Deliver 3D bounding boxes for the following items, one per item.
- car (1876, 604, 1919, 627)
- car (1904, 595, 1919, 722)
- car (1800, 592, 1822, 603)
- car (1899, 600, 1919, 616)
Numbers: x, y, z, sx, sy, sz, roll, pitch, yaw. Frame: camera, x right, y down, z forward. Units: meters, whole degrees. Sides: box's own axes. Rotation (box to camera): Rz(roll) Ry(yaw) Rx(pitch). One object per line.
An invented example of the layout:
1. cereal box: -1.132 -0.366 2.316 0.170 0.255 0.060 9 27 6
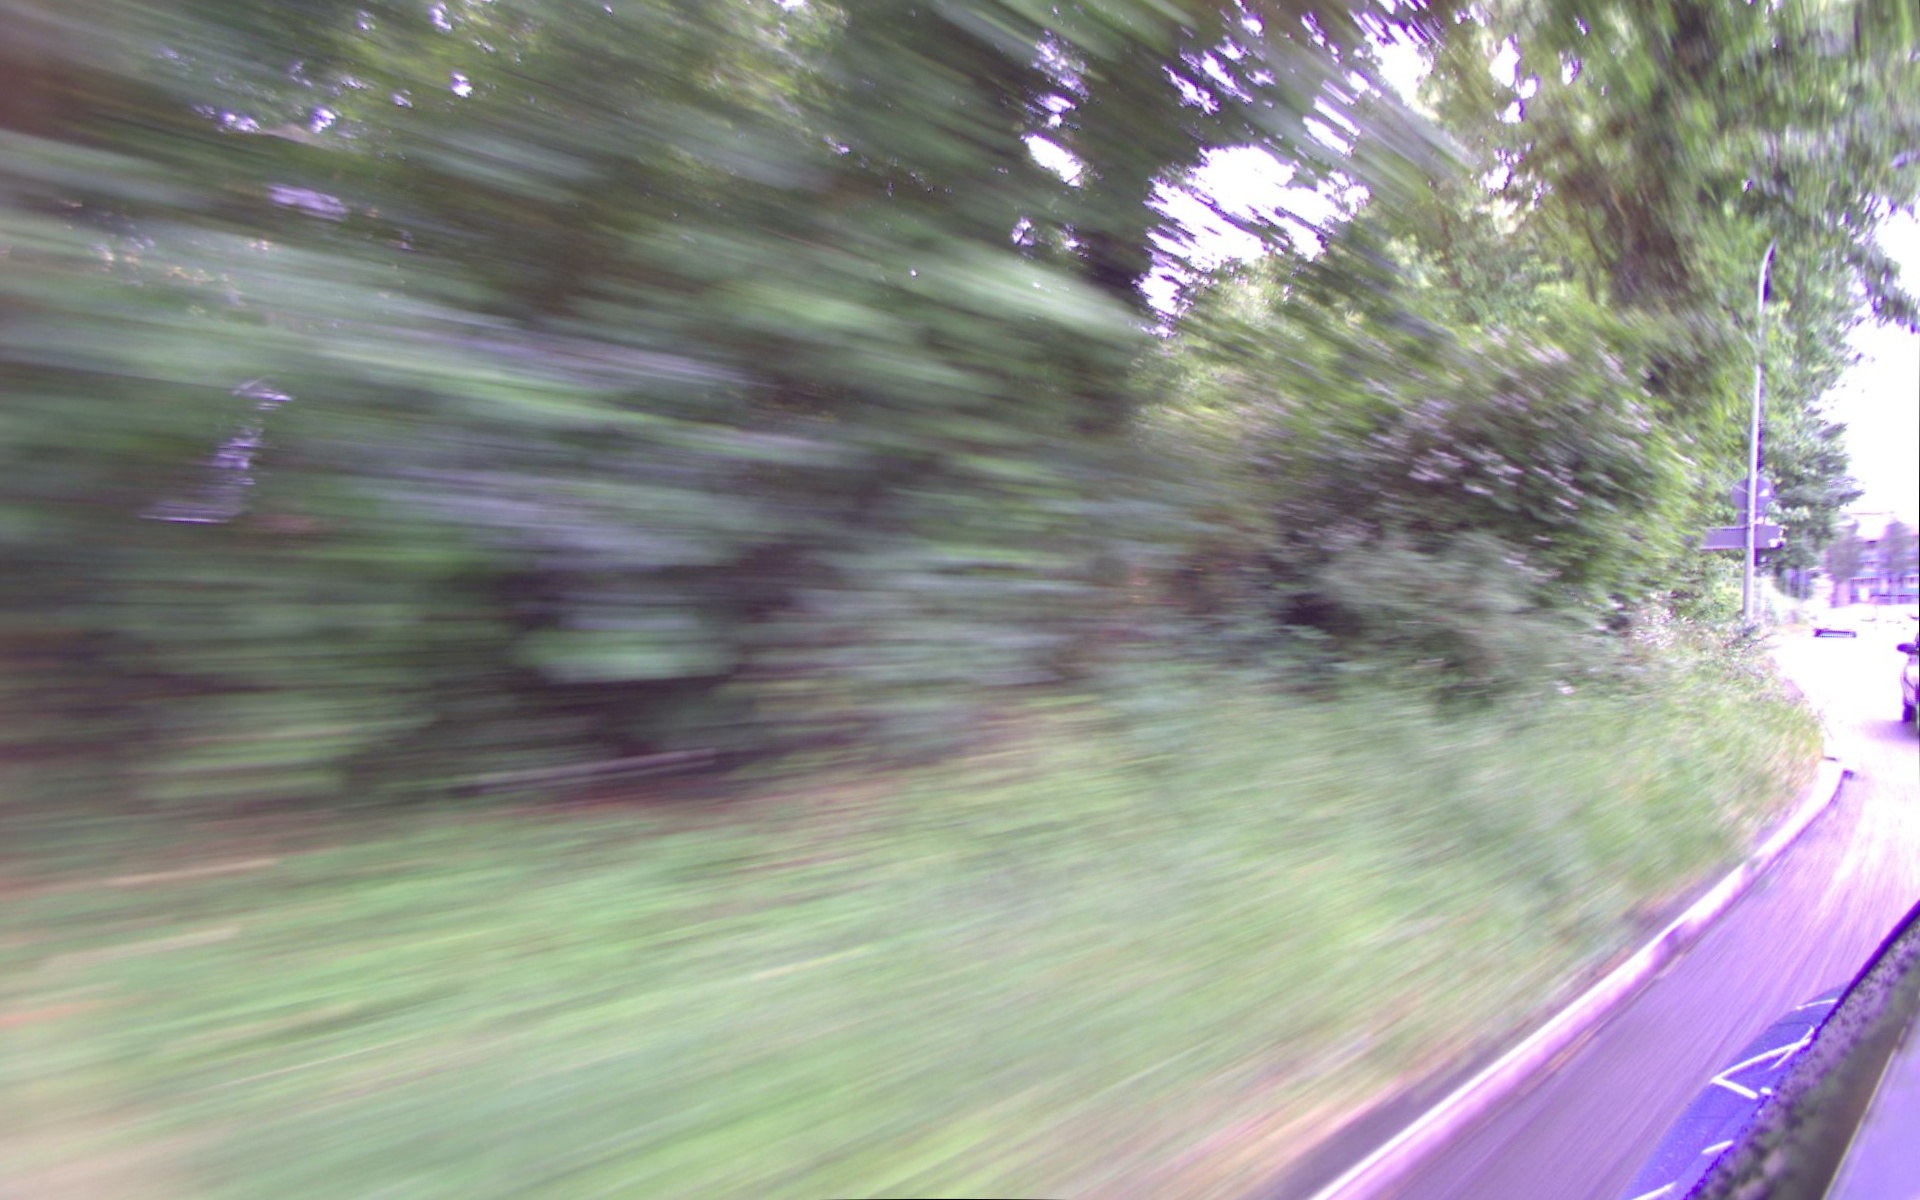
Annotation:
1. car: 66.746 1.065 71.922 1.988 1.482 3.948 3 1 36
2. car: 12.771 0.728 12.204 1.748 1.616 4.108 -2 -2 40
3. car: 132.367 -0.362 157.465 1.853 1.586 4.130 3 2 29
4. car: 96.350 0.794 102.380 1.810 1.534 4.226 4 2 41
